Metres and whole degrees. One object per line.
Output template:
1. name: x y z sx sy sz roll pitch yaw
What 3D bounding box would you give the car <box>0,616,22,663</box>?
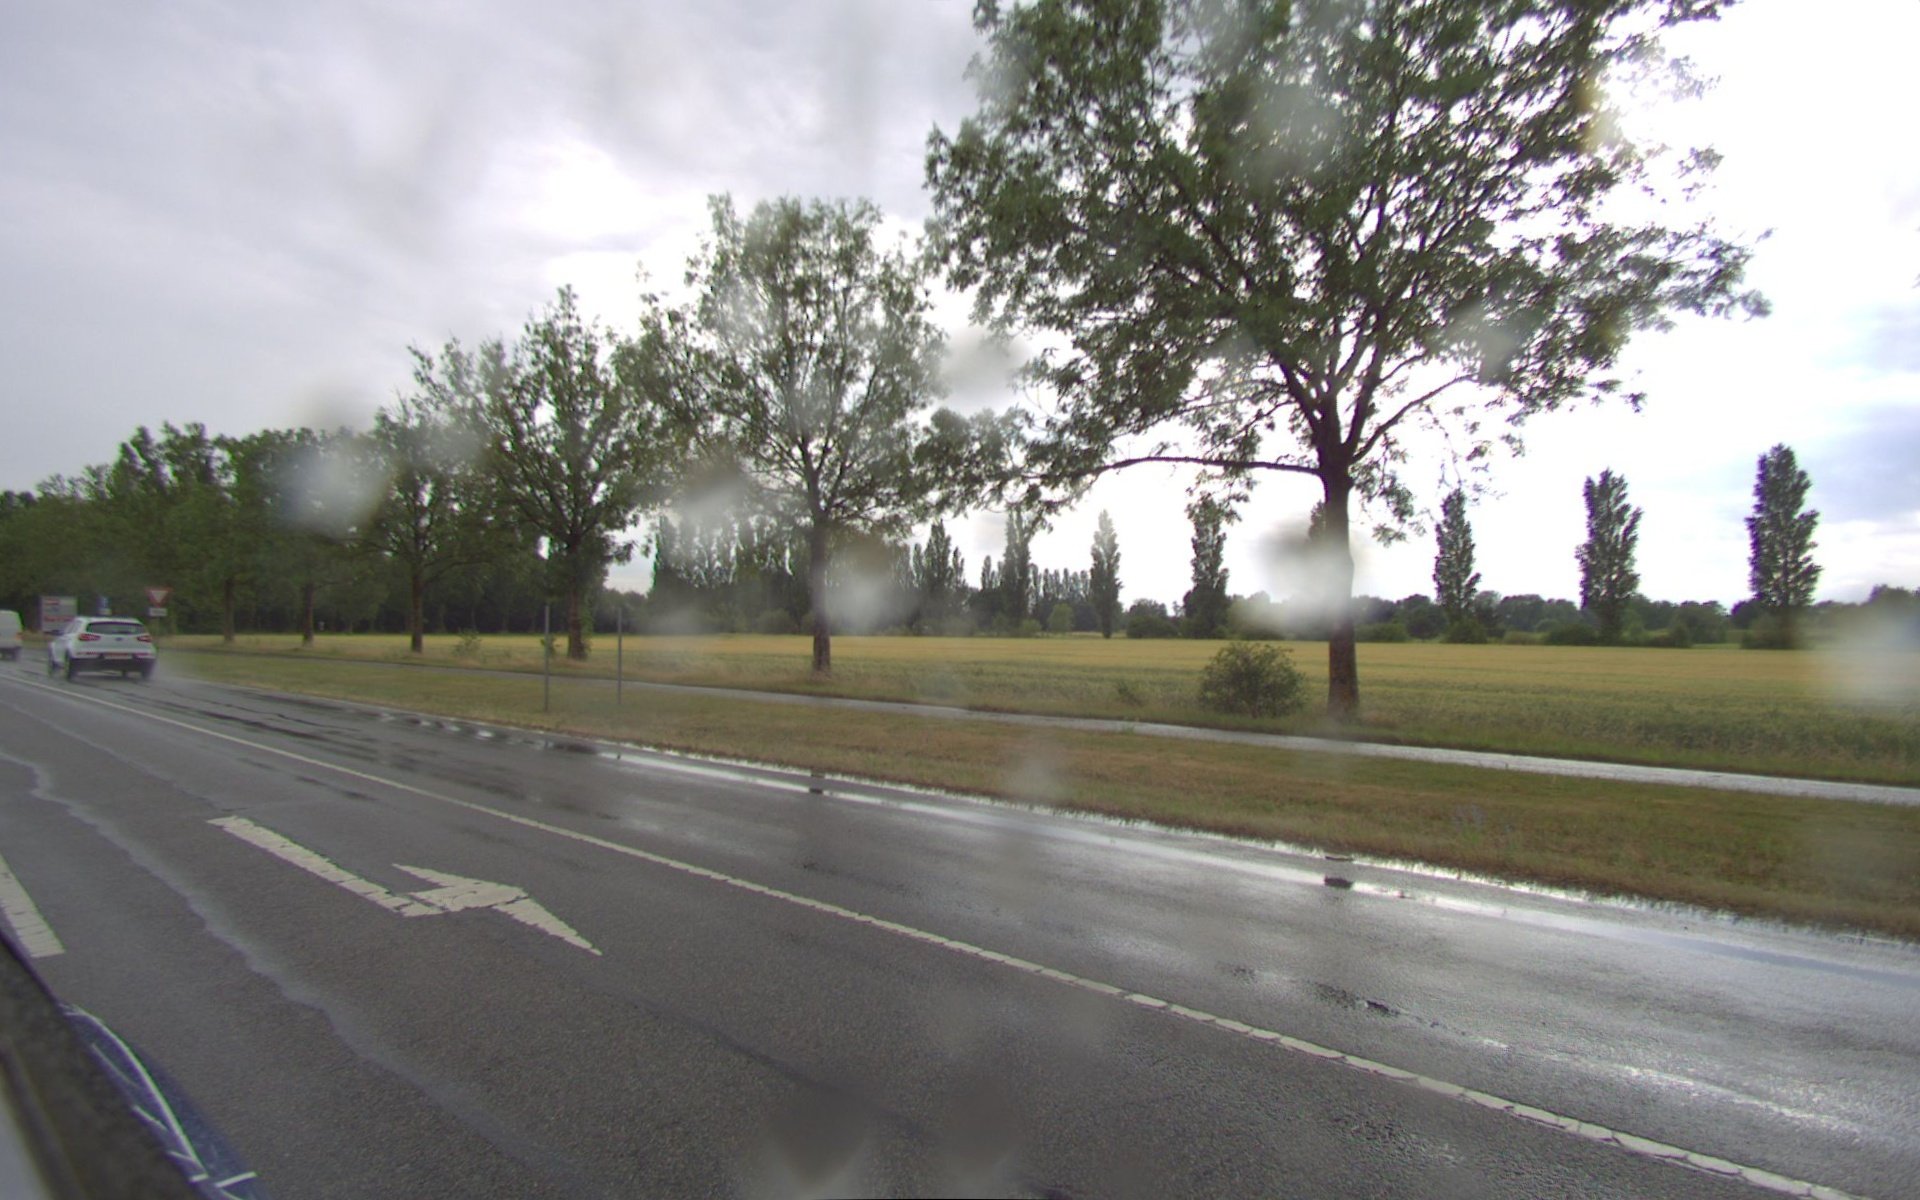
1. car: -40.439 1.599 41.825 4.682 1.876 1.896 -1 -4 41

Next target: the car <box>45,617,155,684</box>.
1. car: -23.516 1.366 27.630 4.155 1.684 1.685 -1 -4 42
